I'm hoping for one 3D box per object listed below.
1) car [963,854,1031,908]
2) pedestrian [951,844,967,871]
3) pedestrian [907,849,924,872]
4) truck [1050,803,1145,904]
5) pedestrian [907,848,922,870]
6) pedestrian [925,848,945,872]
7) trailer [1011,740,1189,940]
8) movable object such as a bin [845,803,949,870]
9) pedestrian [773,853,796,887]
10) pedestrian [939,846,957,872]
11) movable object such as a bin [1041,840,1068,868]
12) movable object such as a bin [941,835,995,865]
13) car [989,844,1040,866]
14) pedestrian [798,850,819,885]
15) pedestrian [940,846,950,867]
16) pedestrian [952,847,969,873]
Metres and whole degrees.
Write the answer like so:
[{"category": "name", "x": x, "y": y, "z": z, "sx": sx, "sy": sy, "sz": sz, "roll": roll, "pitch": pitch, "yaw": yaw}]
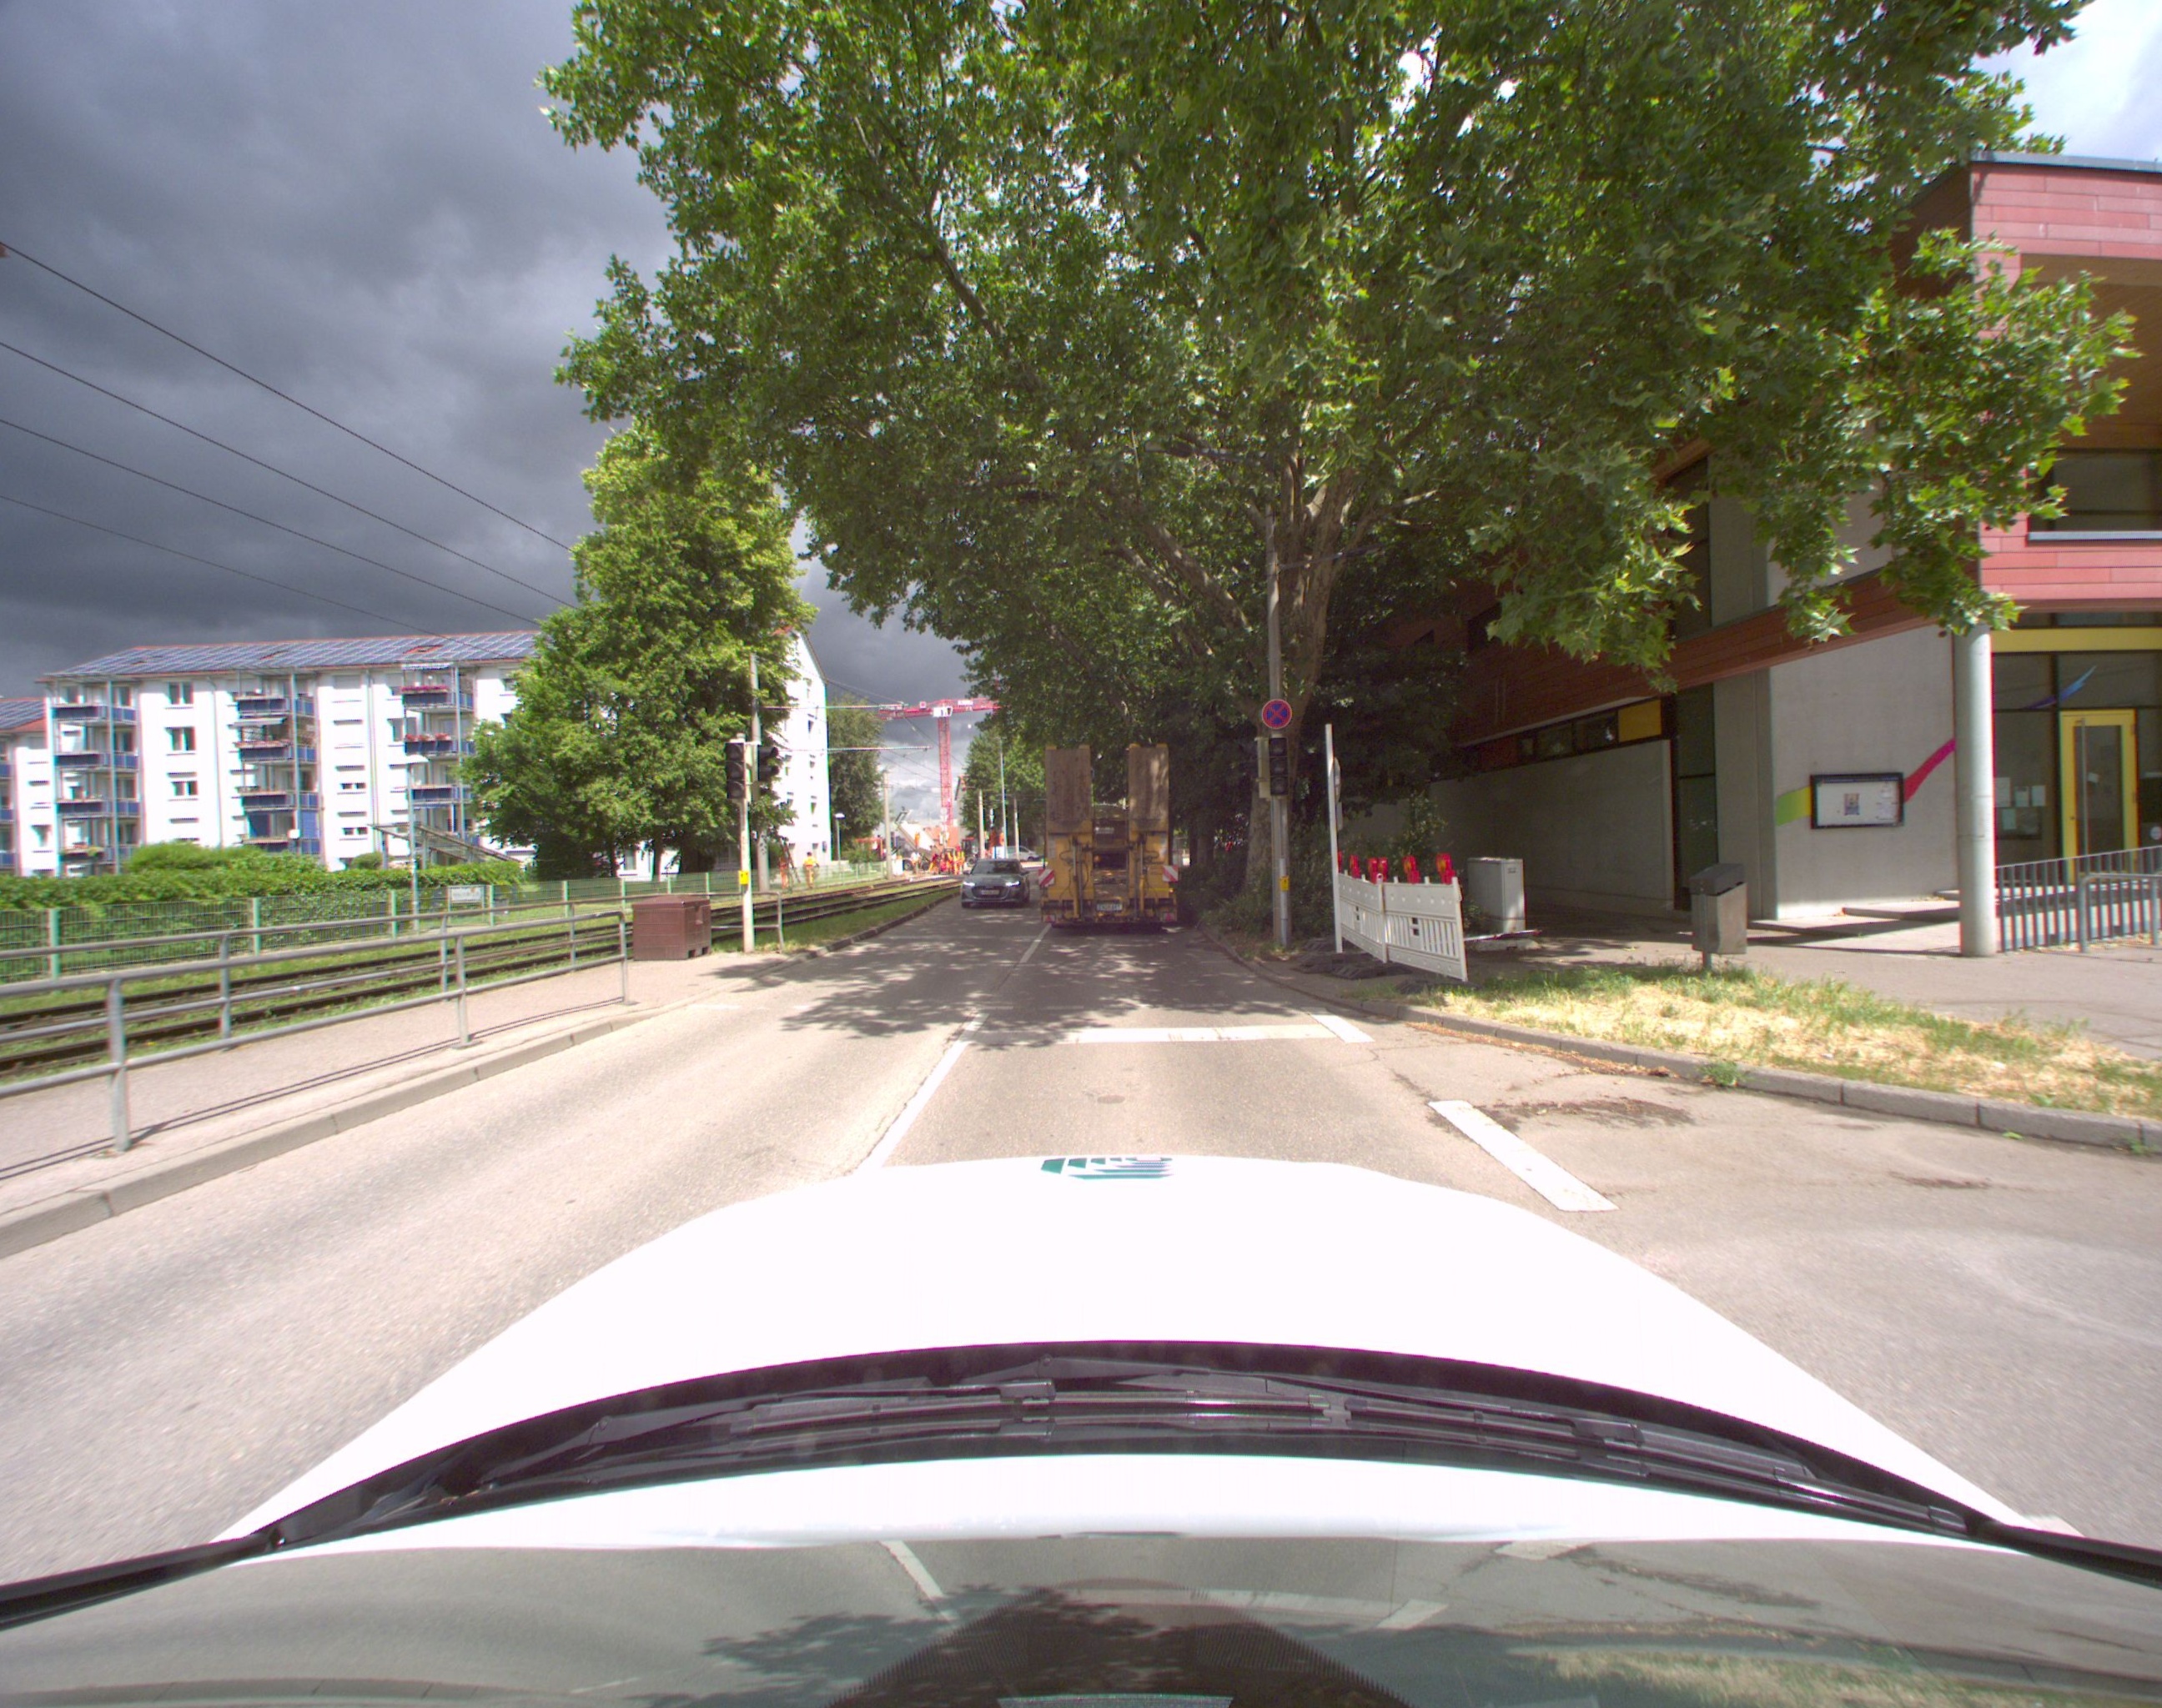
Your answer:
[{"category": "car", "x": -2.457, "y": 0.746, "z": 24.485, "sx": 1.631, "sy": 1.435, "sz": 3.850, "roll": -1, "pitch": 0, "yaw": 0}, {"category": "pedestrian", "x": -8.590, "y": 0.222, "z": 57.224, "sx": 0.890, "sy": 1.867, "sz": 0.830, "roll": -1, "pitch": 0, "yaw": -27}, {"category": "pedestrian", "x": -12.029, "y": 0.466, "z": 59.189, "sx": 0.893, "sy": 1.645, "sz": 0.827, "roll": -1, "pitch": 0, "yaw": -41}, {"category": "truck", "x": 0.601, "y": 0.003, "z": 29.733, "sx": 2.979, "sy": 3.135, "sz": 7.889, "roll": -1, "pitch": 0, "yaw": 1}, {"category": "pedestrian", "x": -12.688, "y": 0.399, "z": 61.987, "sx": 0.890, "sy": 1.645, "sz": 0.892, "roll": -1, "pitch": 0, "yaw": -26}, {"category": "pedestrian", "x": -10.377, "y": 0.409, "z": 57.880, "sx": 1.117, "sy": 1.715, "sz": 0.877, "roll": -1, "pitch": 0, "yaw": -43}, {"category": "trailer", "x": 0.431, "y": -0.230, "z": 20.231, "sx": 3.143, "sy": 3.552, "sz": 11.097, "roll": -1, "pitch": 0, "yaw": 1}, {"category": "movable object such as a bin", "x": -16.074, "y": -1.417, "z": 70.921, "sx": 9.115, "sy": 5.414, "sz": 2.680, "roll": -1, "pitch": 0, "yaw": 28}, {"category": "pedestrian", "x": -14.250, "y": 0.760, "z": 39.150, "sx": 0.729, "sy": 1.625, "sz": 0.867, "roll": -2, "pitch": 0, "yaw": 1}, {"category": "pedestrian", "x": -9.169, "y": 0.353, "z": 56.238, "sx": 0.878, "sy": 1.760, "sz": 0.841, "roll": -1, "pitch": 0, "yaw": 20}, {"category": "movable object such as a bin", "x": -1.967, "y": 0.013, "z": 61.241, "sx": 1.389, "sy": 2.013, "sz": 2.565, "roll": -1, "pitch": 0, "yaw": 12}, {"category": "movable object such as a bin", "x": -10.372, "y": -0.376, "z": 74.896, "sx": 4.325, "sy": 2.629, "sz": 2.234, "roll": -1, "pitch": 0, "yaw": 28}, {"category": "car", "x": -7.145, "y": 0.068, "z": 87.385, "sx": 5.095, "sy": 2.102, "sz": 1.968, "roll": -2, "pitch": 0, "yaw": -13}, {"category": "pedestrian", "x": -13.268, "y": 0.652, "z": 39.659, "sx": 0.697, "sy": 1.718, "sz": 0.867, "roll": -1, "pitch": 0, "yaw": 1}, {"category": "pedestrian", "x": -11.957, "y": 0.217, "z": 71.555, "sx": 0.834, "sy": 1.867, "sz": 0.885, "roll": -1, "pitch": 0, "yaw": -10}, {"category": "pedestrian", "x": -8.805, "y": 0.420, "z": 59.655, "sx": 0.877, "sy": 1.867, "sz": 0.842, "roll": -1, "pitch": 0, "yaw": 30}]
